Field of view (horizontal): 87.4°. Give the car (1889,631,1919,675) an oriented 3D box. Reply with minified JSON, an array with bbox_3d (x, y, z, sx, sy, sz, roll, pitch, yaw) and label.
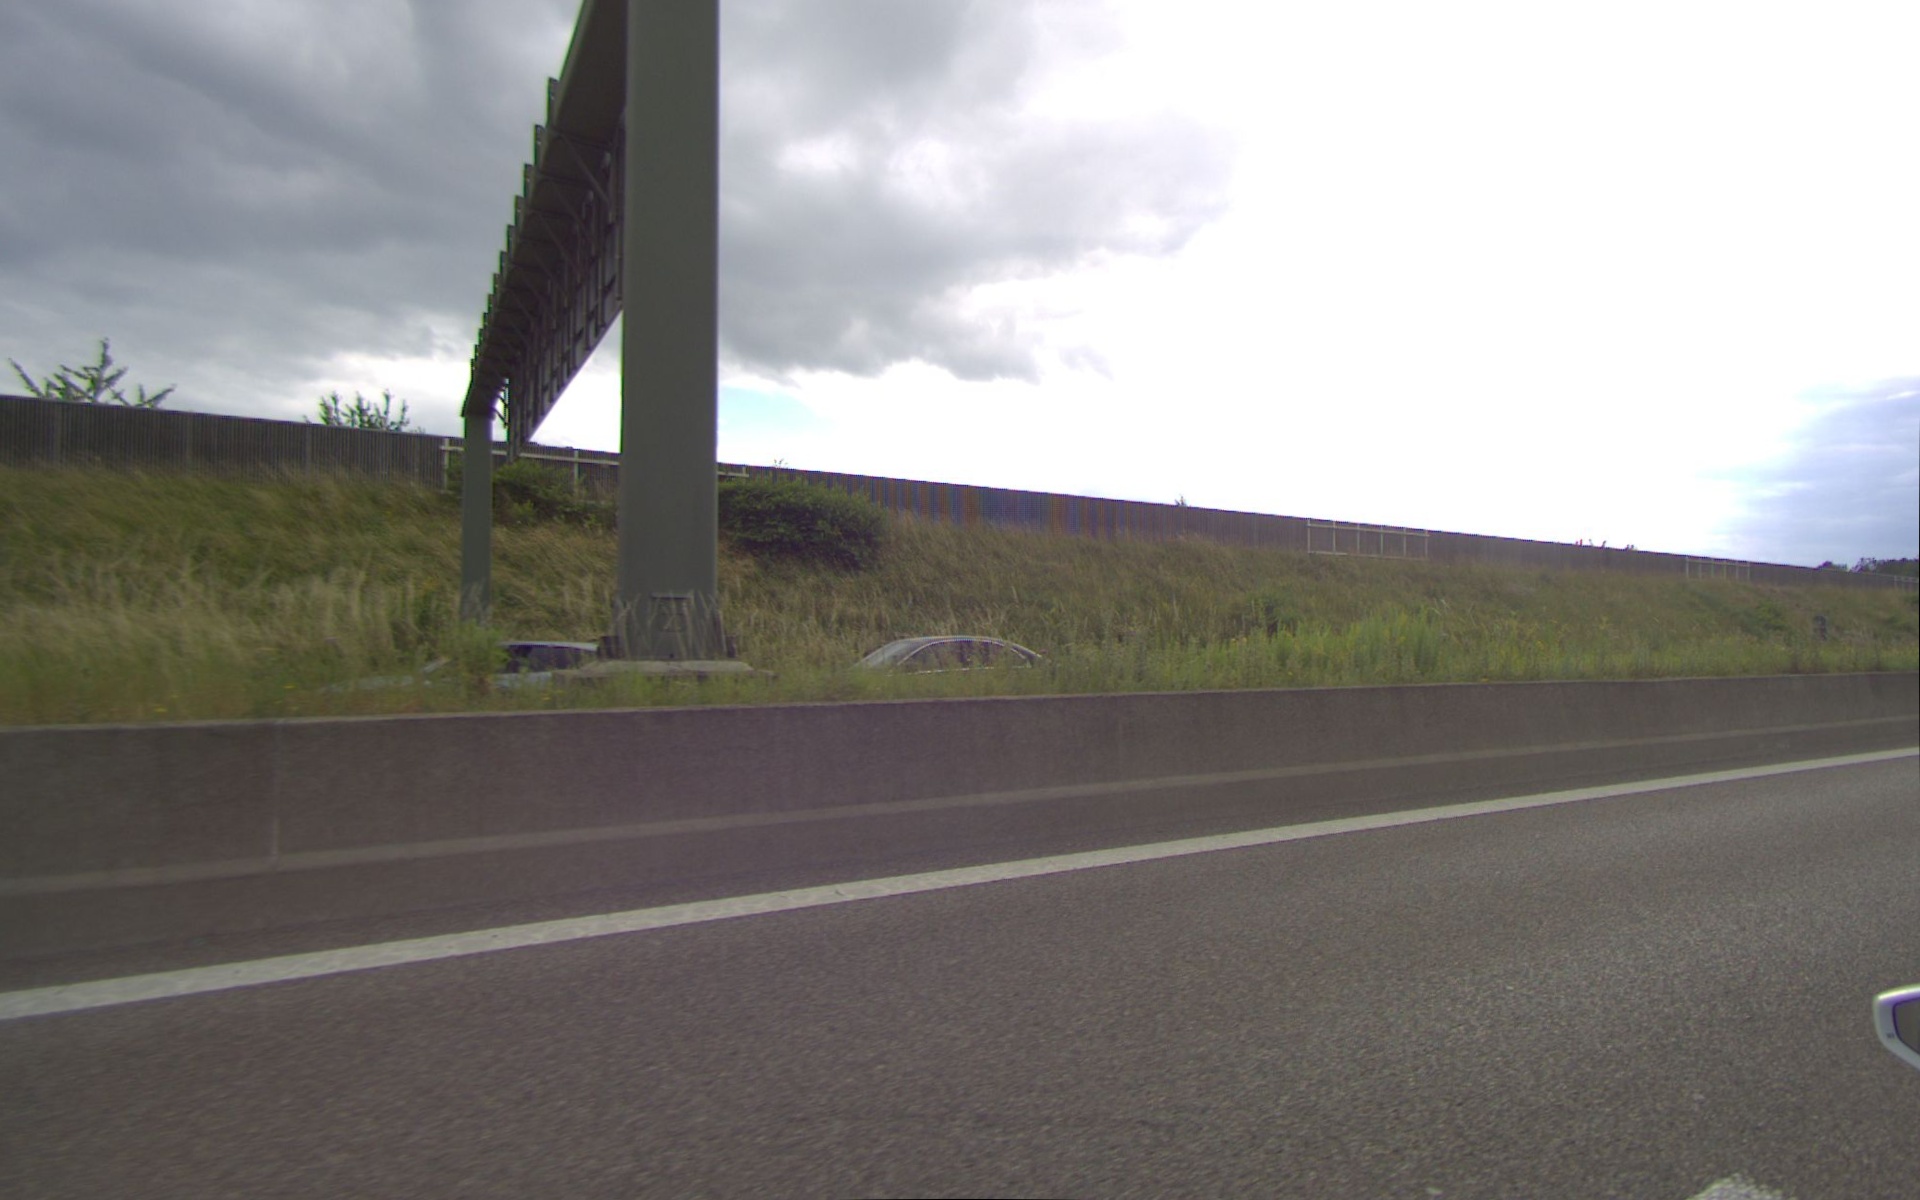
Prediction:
[{"bbox_3d":[32.295,1.742,33.191,3.295,1.407,1.527,1,0,-31],"label":"car"}]

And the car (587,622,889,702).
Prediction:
[{"bbox_3d":[-3.449,0.922,15.776,4.282,1.046,1.855,1,0,-30],"label":"car"}]
